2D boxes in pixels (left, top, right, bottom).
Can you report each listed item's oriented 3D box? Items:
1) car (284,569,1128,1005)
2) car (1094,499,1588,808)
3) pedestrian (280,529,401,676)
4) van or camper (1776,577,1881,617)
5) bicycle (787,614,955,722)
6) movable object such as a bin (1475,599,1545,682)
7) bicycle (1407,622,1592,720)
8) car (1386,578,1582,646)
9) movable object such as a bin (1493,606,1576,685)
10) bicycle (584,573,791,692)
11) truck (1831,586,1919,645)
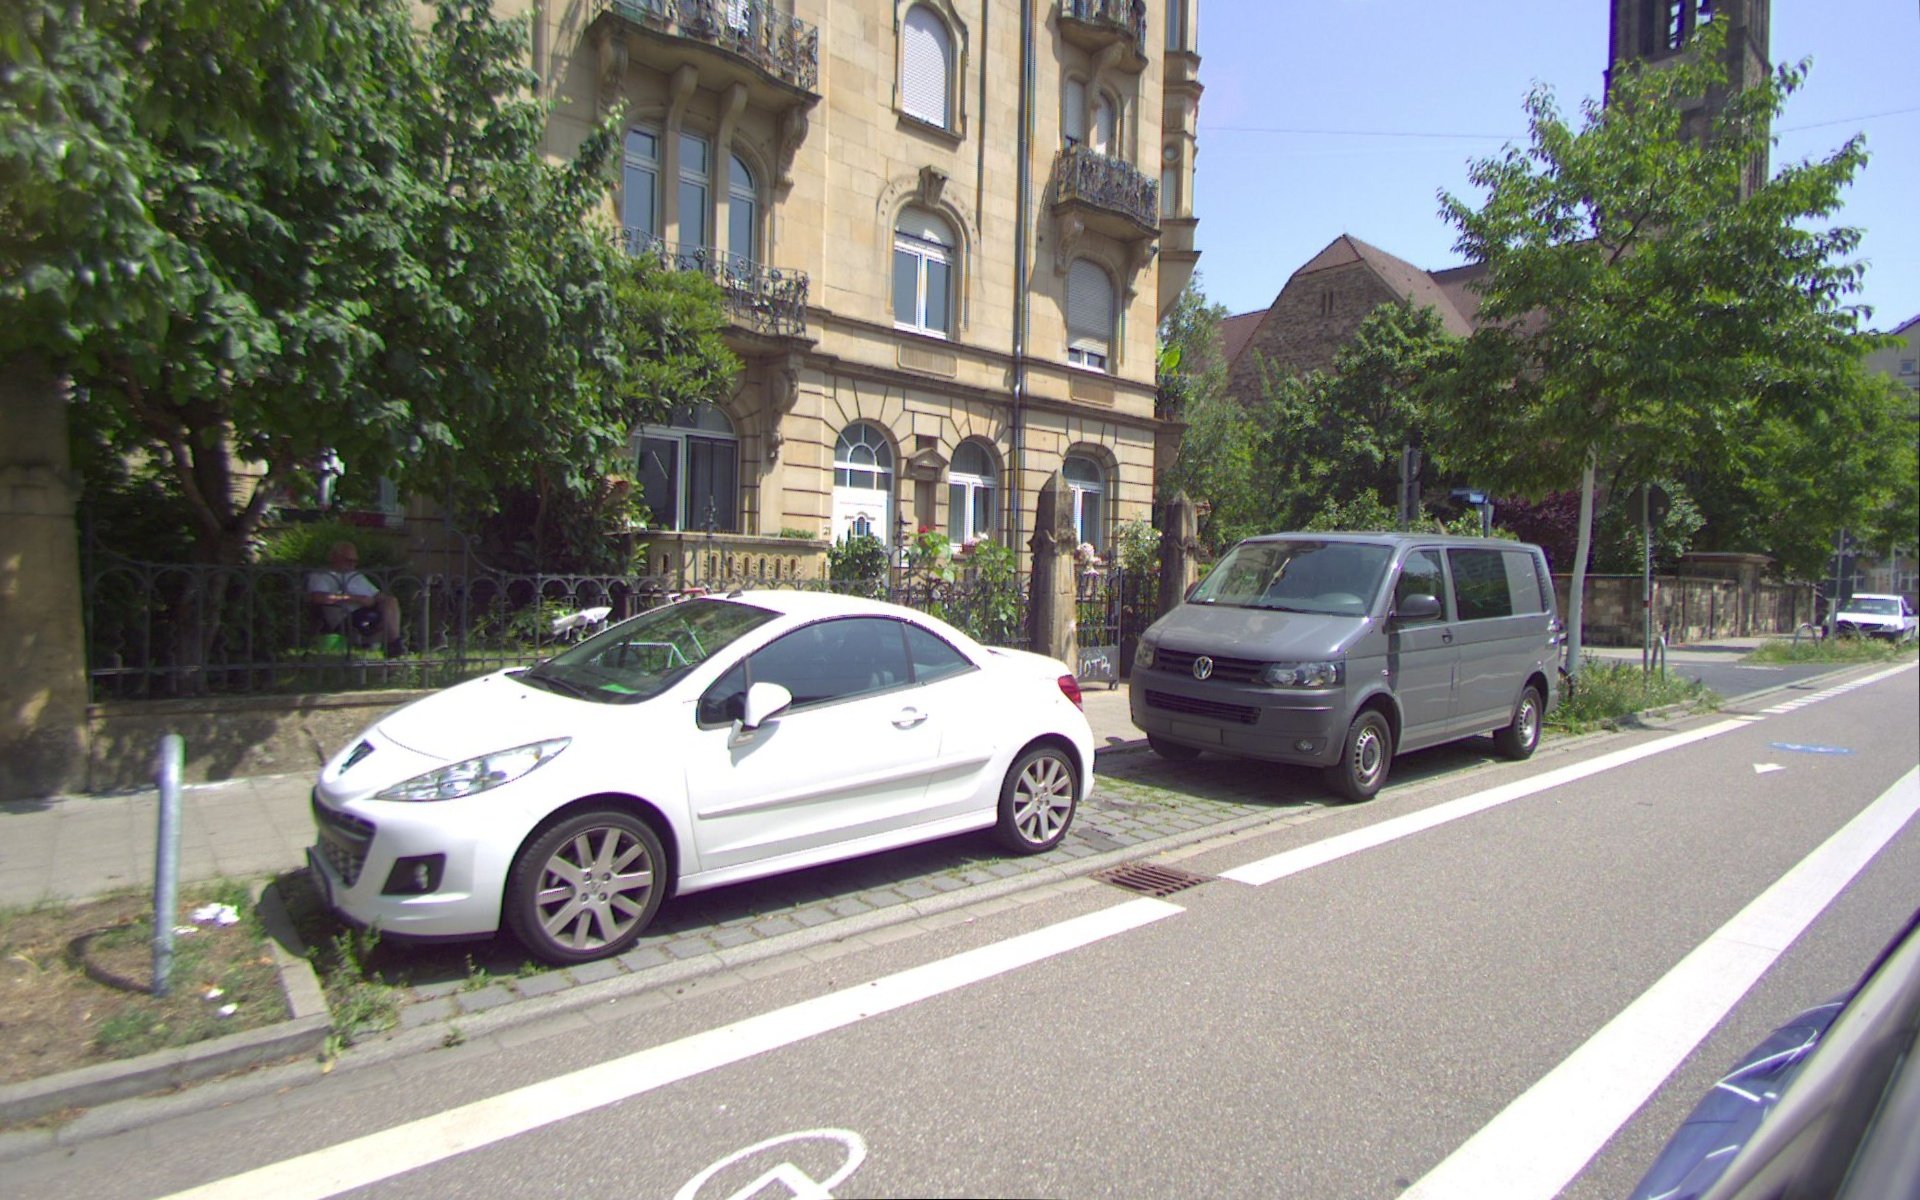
[{"bbox_3d":[-1.040,0.595,5.232,3.930,1.423,1.614,0,2,-41],"label":"car"},{"bbox_3d":[3.481,0.291,8.725,4.751,1.971,1.883,0,3,-41],"label":"car"},{"bbox_3d":[-4.933,0.006,8.049,0.747,1.083,0.868,0,1,-36],"label":"pedestrian"},{"bbox_3d":[46.478,-0.179,54.222,1.771,1.848,3.995,3,1,-41],"label":"van or camper"},{"bbox_3d":[-0.802,0.598,9.458,1.606,0.891,0.441,0,1,-41],"label":"bicycle"},{"bbox_3d":[7.438,0.531,13.701,0.486,1.075,0.672,0,1,-34],"label":"movable object such as a bin"},{"bbox_3d":[6.359,0.801,12.000,1.879,1.004,0.463,2,1,41],"label":"bicycle"},{"bbox_3d":[13.494,0.244,26.255,1.645,1.509,4.188,0,2,-42],"label":"car"},{"bbox_3d":[7.998,0.615,14.093,0.637,1.026,0.790,0,1,-34],"label":"movable object such as a bin"},{"bbox_3d":[-2.193,0.234,8.285,1.606,0.891,0.441,0,1,-41],"label":"bicycle"},{"bbox_3d":[26.427,0.384,28.915,4.389,1.545,1.792,0,2,-42],"label":"truck"}]
